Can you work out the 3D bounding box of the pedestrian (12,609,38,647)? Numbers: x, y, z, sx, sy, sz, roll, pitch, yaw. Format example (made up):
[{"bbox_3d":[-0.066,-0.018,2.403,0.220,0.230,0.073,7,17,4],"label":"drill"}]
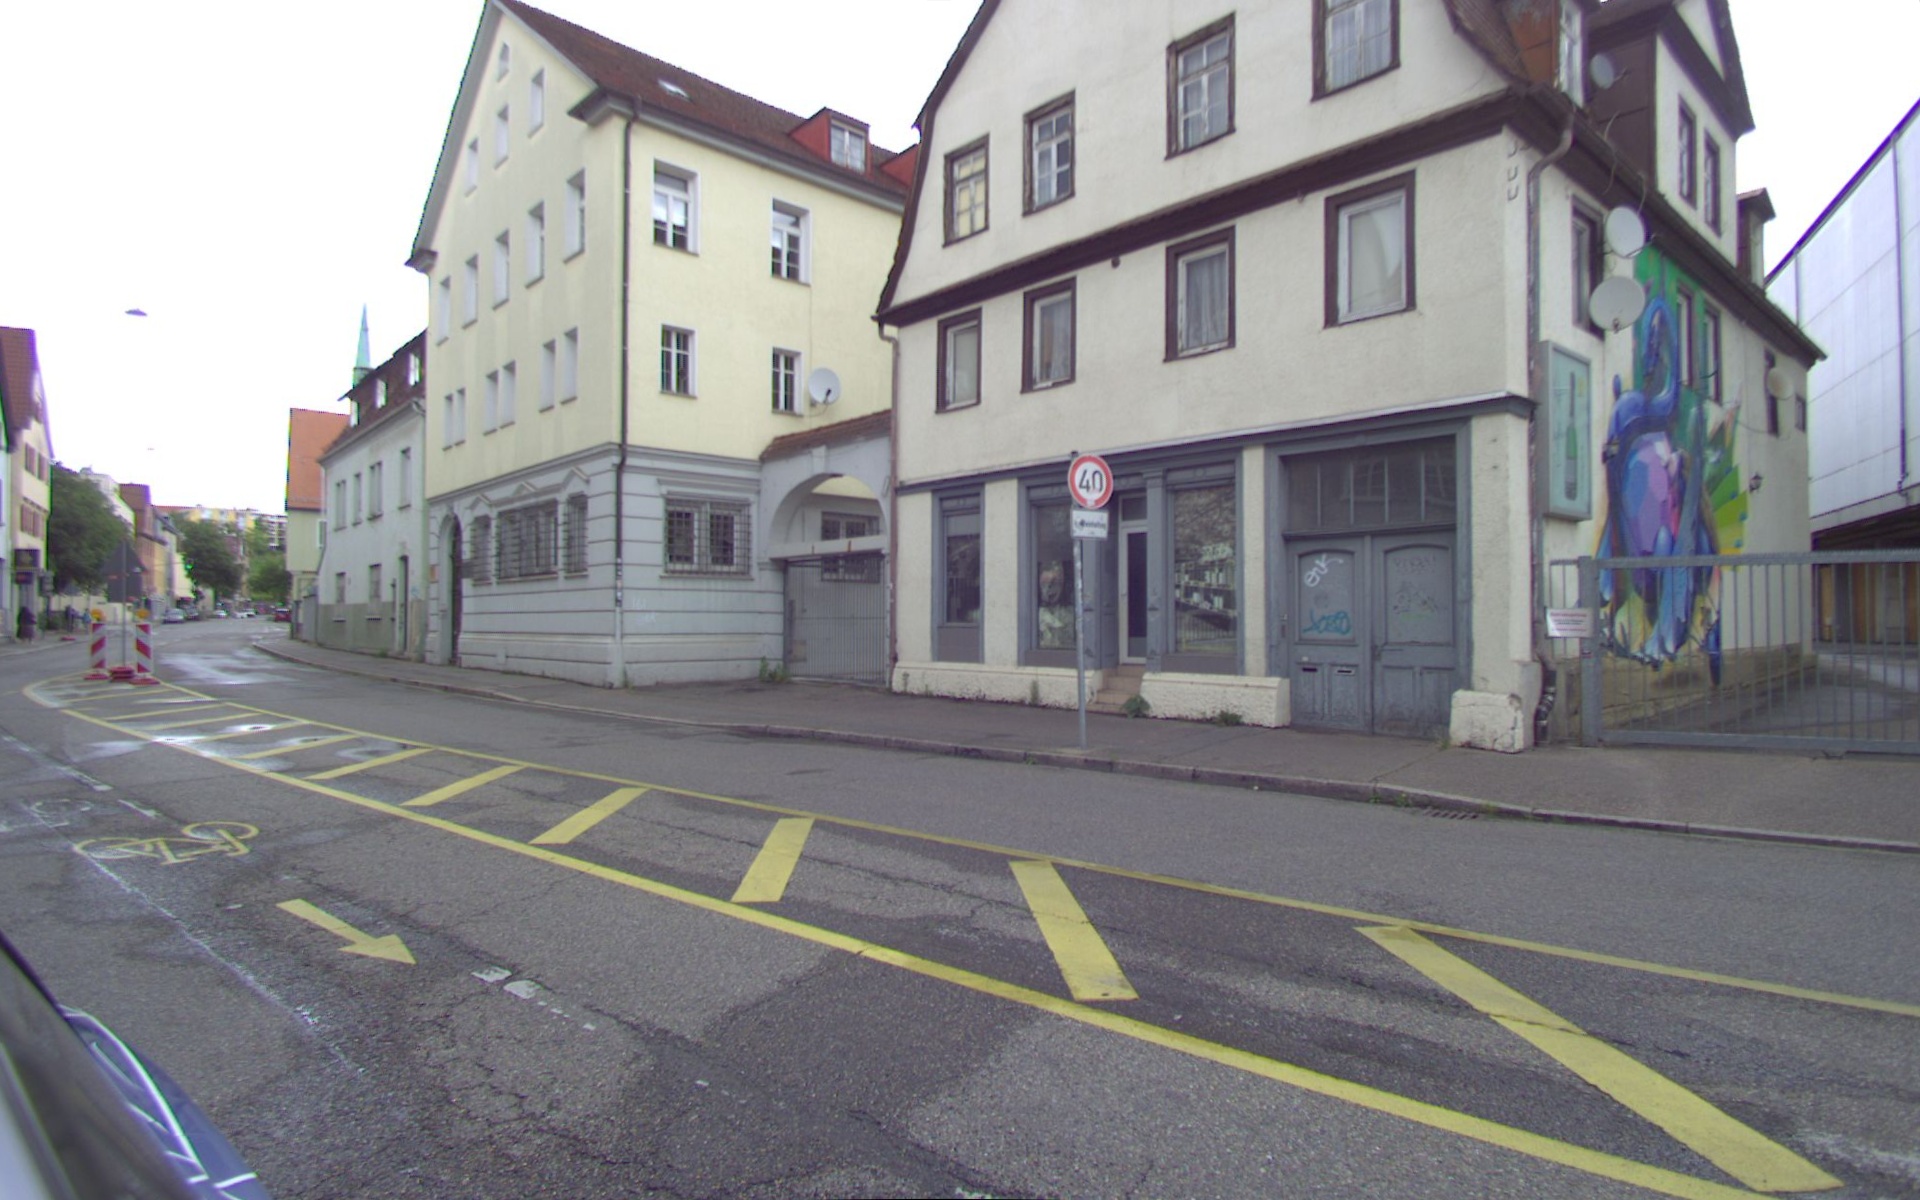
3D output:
[{"bbox_3d":[-40.406,1.221,43.745,0.714,1.626,0.649,2,-3,-39],"label":"pedestrian"}]

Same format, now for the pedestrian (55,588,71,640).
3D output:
[{"bbox_3d":[-43.671,0.681,49.263,0.487,2.547,0.747,1,-2,-38],"label":"pedestrian"}]
